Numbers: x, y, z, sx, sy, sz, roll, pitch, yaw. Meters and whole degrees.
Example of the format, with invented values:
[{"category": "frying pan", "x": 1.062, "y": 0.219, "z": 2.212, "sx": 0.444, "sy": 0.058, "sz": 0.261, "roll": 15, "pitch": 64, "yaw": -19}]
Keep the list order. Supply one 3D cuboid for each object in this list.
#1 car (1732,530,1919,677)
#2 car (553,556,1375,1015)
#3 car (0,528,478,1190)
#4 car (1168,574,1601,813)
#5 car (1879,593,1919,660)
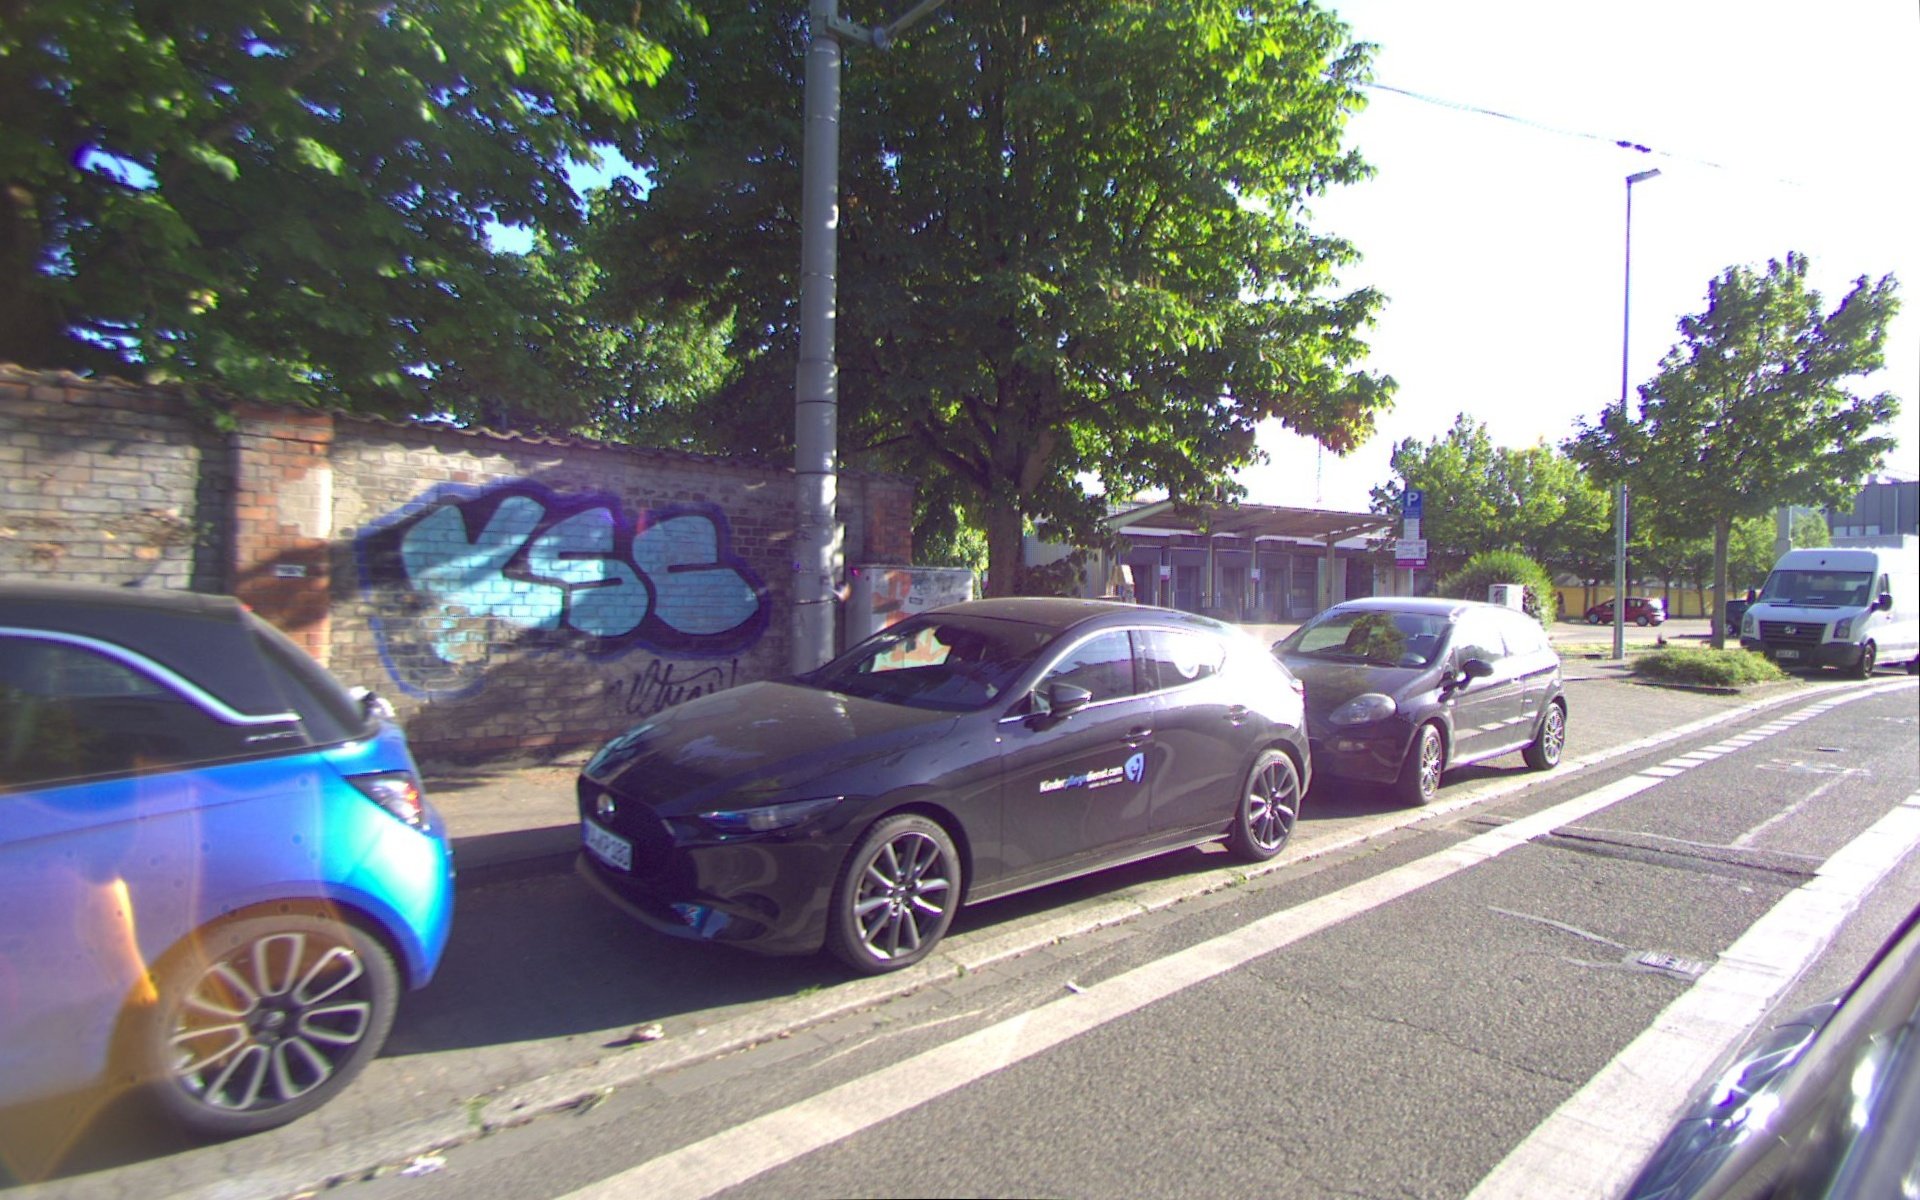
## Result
[{"category": "car", "x": 18.732, "y": 0.010, "z": 21.134, "sx": 5.972, "sy": 2.698, "sz": 2.189, "roll": 0, "pitch": 3, "yaw": -33}, {"category": "car", "x": 0.286, "y": 0.598, "z": 5.425, "sx": 4.276, "sy": 1.549, "sz": 1.693, "roll": 0, "pitch": 2, "yaw": -39}, {"category": "car", "x": -3.487, "y": 0.575, "z": 2.435, "sx": 3.927, "sy": 1.549, "sz": 1.693, "roll": 0, "pitch": 2, "yaw": -39}, {"category": "car", "x": 3.720, "y": 0.603, "z": 8.588, "sx": 3.927, "sy": 1.549, "sz": 1.693, "roll": 0, "pitch": 2, "yaw": -39}, {"category": "car", "x": 24.230, "y": 0.625, "z": 24.420, "sx": 4.510, "sy": 1.549, "sz": 1.918, "roll": 0, "pitch": 1, "yaw": -33}]
